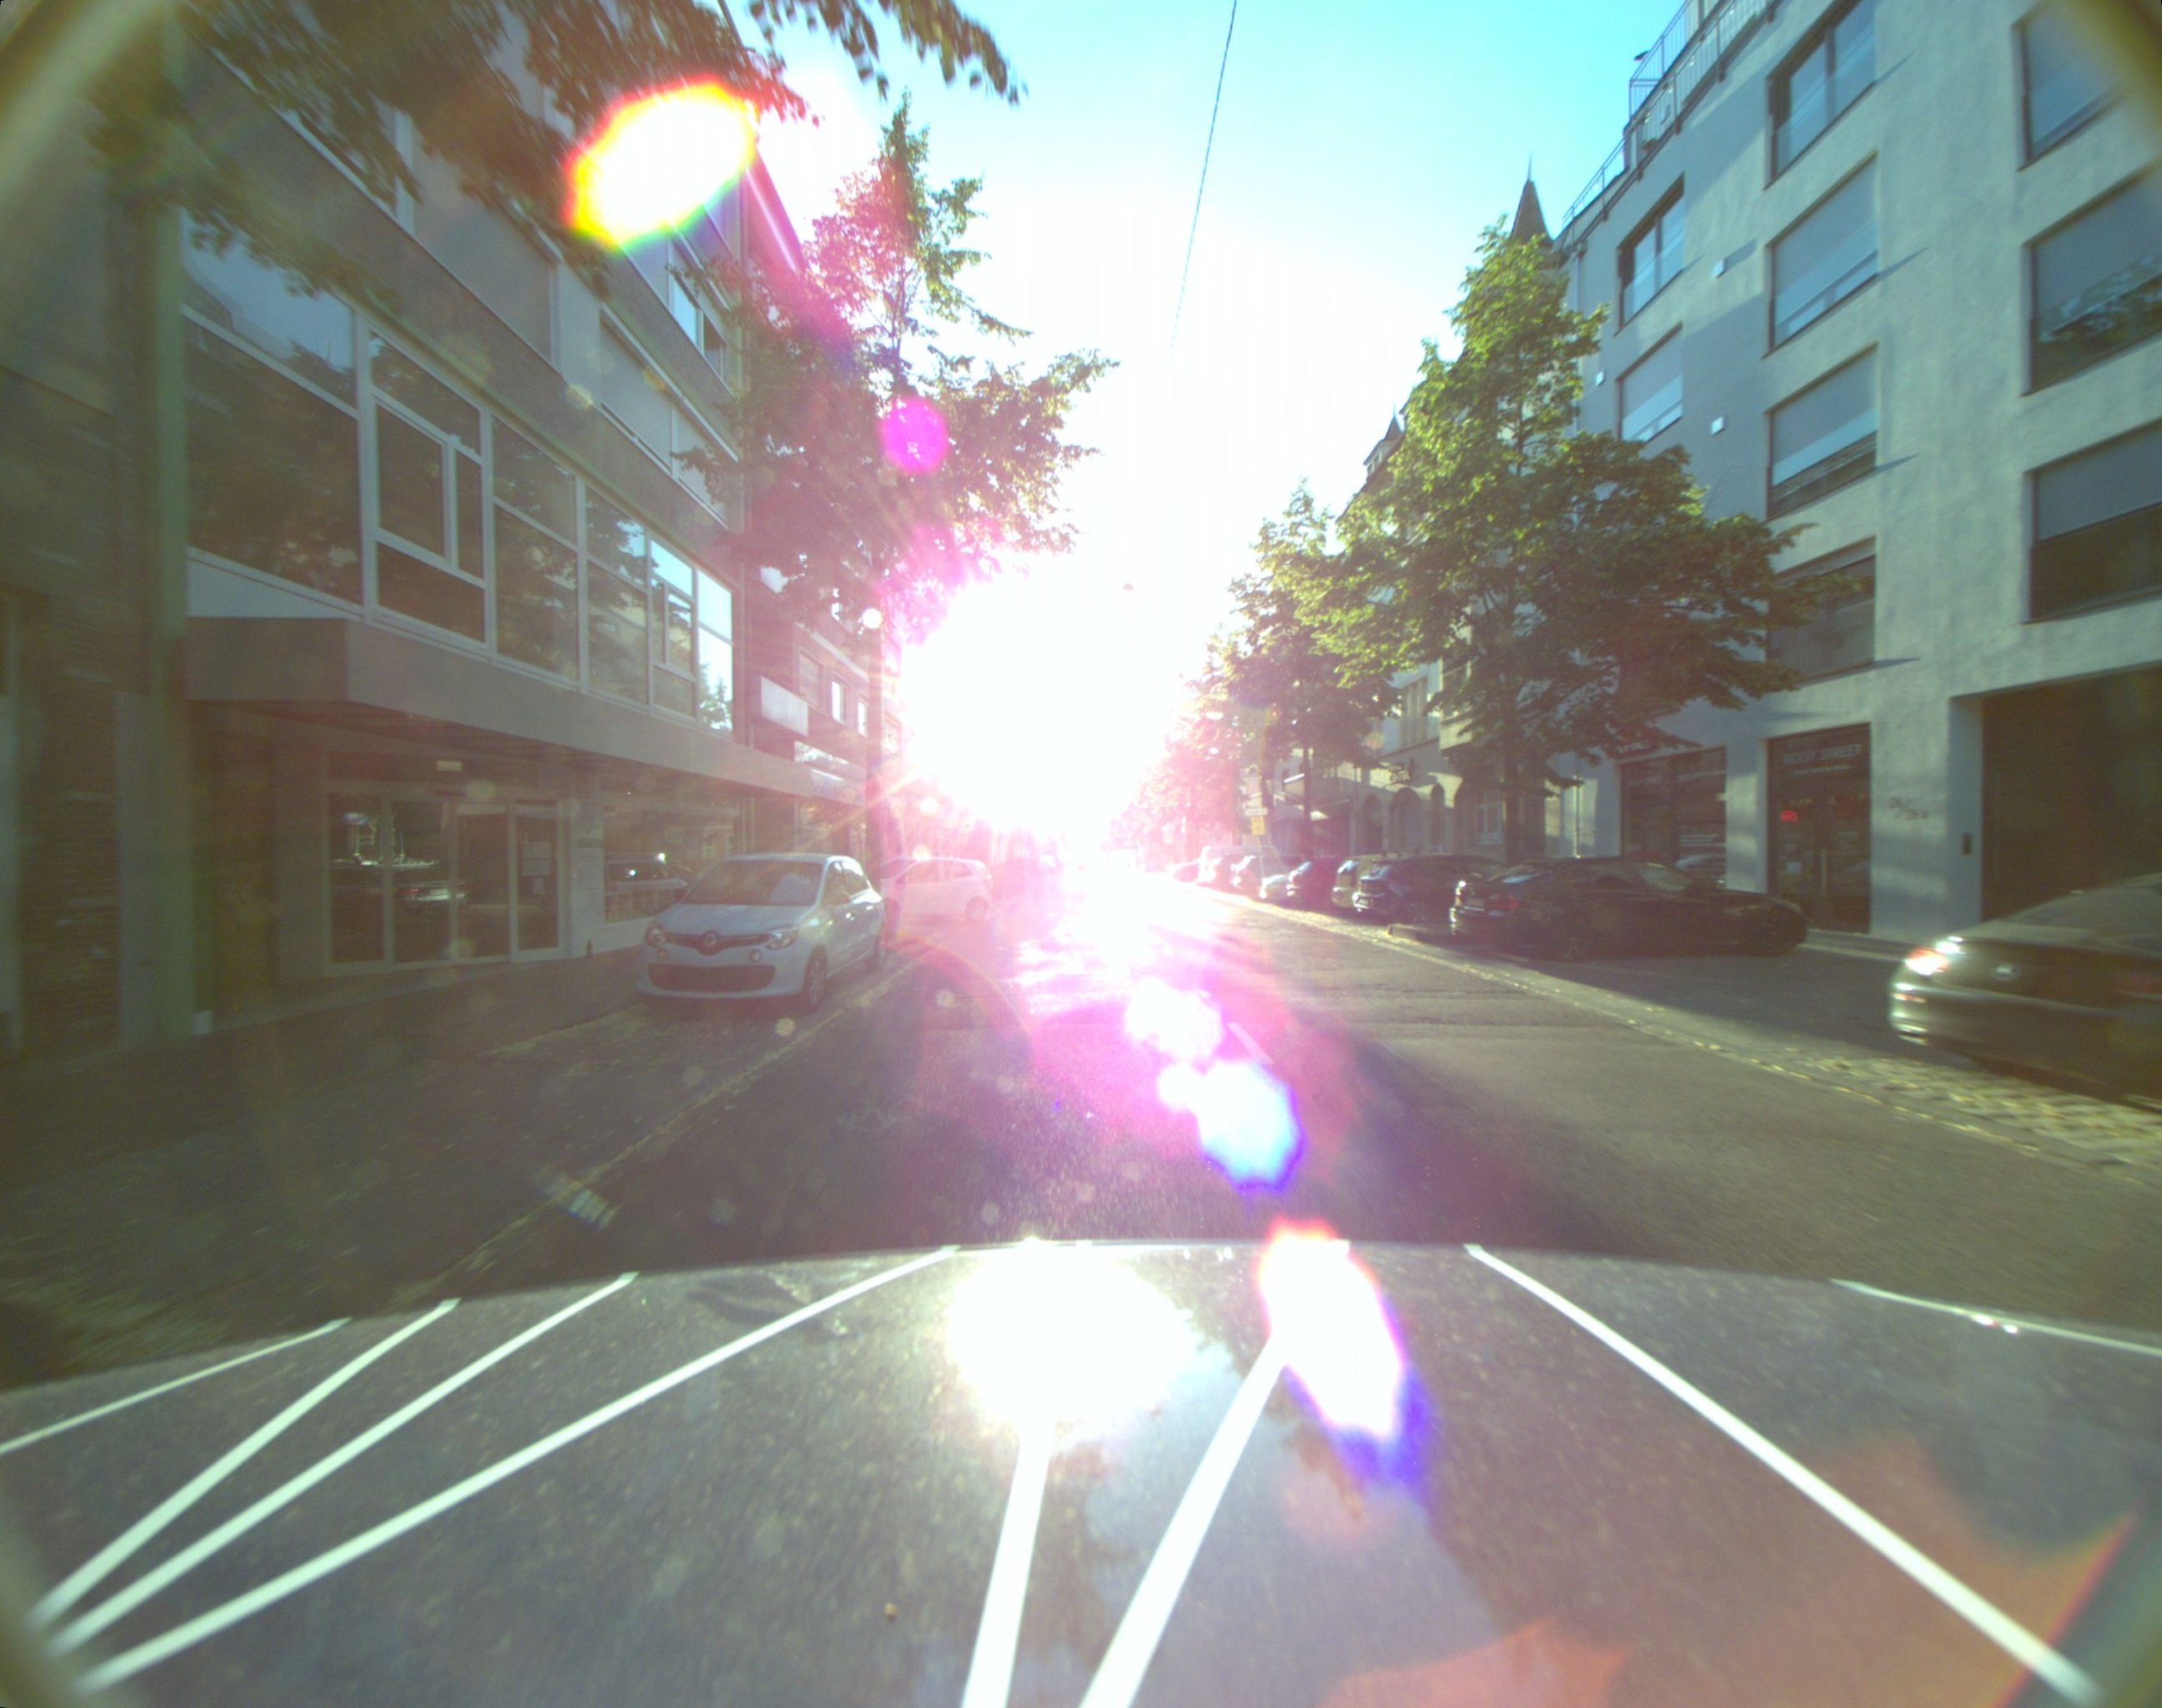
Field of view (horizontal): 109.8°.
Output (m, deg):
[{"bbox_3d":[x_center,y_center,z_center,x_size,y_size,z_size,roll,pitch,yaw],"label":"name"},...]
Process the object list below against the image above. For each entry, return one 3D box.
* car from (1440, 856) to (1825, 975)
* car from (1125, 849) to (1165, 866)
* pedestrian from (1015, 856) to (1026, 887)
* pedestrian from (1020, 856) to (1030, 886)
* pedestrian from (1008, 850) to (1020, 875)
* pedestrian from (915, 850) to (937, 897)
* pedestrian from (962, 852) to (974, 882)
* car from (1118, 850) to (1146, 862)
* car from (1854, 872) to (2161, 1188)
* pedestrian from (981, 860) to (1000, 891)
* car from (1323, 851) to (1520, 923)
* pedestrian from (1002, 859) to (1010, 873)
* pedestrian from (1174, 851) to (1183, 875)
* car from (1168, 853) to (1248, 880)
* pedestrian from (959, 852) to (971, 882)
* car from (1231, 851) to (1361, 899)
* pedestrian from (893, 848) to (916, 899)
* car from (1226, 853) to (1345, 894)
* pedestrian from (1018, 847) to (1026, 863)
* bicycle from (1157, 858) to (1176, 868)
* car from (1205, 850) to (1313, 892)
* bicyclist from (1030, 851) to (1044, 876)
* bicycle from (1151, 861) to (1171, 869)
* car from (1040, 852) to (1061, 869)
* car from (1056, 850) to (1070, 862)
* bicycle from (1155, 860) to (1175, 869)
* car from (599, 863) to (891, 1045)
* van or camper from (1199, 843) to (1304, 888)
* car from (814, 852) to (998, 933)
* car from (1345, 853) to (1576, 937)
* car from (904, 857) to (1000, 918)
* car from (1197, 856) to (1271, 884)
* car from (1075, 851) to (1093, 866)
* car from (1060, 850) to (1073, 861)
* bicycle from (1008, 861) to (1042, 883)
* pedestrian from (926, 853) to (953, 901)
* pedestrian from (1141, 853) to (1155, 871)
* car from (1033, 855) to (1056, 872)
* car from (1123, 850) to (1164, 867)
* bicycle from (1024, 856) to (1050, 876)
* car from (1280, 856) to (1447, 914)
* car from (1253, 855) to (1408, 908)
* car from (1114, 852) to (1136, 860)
[{"bbox_3d":[7.691,0.803,10.862,4.286,1.475,1.744,-1,0,-2],"label":"car"},{"bbox_3d":[7.429,0.415,88.823,4.439,1.832,1.814,-1,1,-1],"label":"car"},{"bbox_3d":[-2.937,0.852,37.026,0.448,1.472,0.547,1,1,1],"label":"pedestrian"},{"bbox_3d":[-2.812,0.862,38.121,0.448,1.472,0.563,1,1,1],"label":"pedestrian"},{"bbox_3d":[-5.089,0.626,57.811,0.719,1.864,0.756,1,1,5],"label":"pedestrian"},{"bbox_3d":[-5.410,0.662,26.507,0.607,1.622,0.668,-1,1,0],"label":"pedestrian"},{"bbox_3d":[-6.321,0.715,42.498,0.493,1.614,0.573,1,1,1],"label":"pedestrian"},{"bbox_3d":[7.760,0.341,115.396,4.152,1.771,1.826,-1,0,0],"label":"car"},{"bbox_3d":[7.439,0.862,4.328,4.285,1.475,1.744,-1,0,0],"label":"car"},{"bbox_3d":[-3.951,0.924,33.252,0.687,1.298,0.648,1,1,2],"label":"pedestrian"},{"bbox_3d":[7.971,0.730,18.003,3.876,1.558,1.744,-1,0,-2],"label":"car"},{"bbox_3d":[-5.903,0.961,60.079,0.551,1.128,0.648,1,1,1],"label":"pedestrian"},{"bbox_3d":[6.769,0.633,52.613,0.550,1.638,0.721,-1,1,3],"label":"pedestrian"},{"bbox_3d":[7.555,0.734,45.530,4.439,1.516,1.814,-1,0,-1],"label":"car"},{"bbox_3d":[-6.316,0.713,41.329,0.493,1.614,0.573,1,1,1],"label":"pedestrian"},{"bbox_3d":[7.629,0.745,27.283,4.192,1.528,1.744,-2,1,5],"label":"car"},{"bbox_3d":[-6.137,0.663,26.413,0.607,1.729,0.668,-1,1,0],"label":"pedestrian"},{"bbox_3d":[7.981,0.742,29.923,4.194,1.434,1.732,-2,1,0],"label":"car"},{"bbox_3d":[-5.875,0.138,76.017,0.719,1.565,0.756,1,1,1],"label":"pedestrian"},{"bbox_3d":[8.086,0.834,72.032,1.801,0.858,0.444,-1,1,-24],"label":"bicycle"},{"bbox_3d":[7.477,0.693,32.232,4.193,1.659,1.732,-1,1,2],"label":"car"},{"bbox_3d":[-3.117,0.671,54.059,0.872,1.783,0.536,-1,1,-17],"label":"bicyclist"},{"bbox_3d":[7.345,1.028,69.659,1.796,0.761,0.408,-1,1,13],"label":"bicycle"},{"bbox_3d":[-3.014,0.608,76.373,1.825,1.658,4.155,-1,1,1],"label":"car"},{"bbox_3d":[-2.702,0.285,113.970,1.825,1.658,4.155,-1,1,1],"label":"car"},{"bbox_3d":[7.836,0.995,70.720,1.796,0.761,0.408,-1,1,13],"label":"bicycle"},{"bbox_3d":[-3.435,0.912,8.544,1.695,1.534,3.552,1,0,0],"label":"car"},{"bbox_3d":[7.807,0.518,35.126,4.469,1.945,1.789,-1,0,2],"label":"van or camper"},{"bbox_3d":[-3.770,0.807,16.780,1.661,1.574,3.632,1,-1,41],"label":"car"},{"bbox_3d":[7.663,0.782,15.599,3.876,1.558,1.744,-1,0,-2],"label":"car"},{"bbox_3d":[-3.576,0.864,21.743,1.830,1.465,3.991,3,0,2],"label":"car"},{"bbox_3d":[8.035,0.820,40.092,3.582,1.405,1.512,-1,1,2],"label":"car"},{"bbox_3d":[0.342,0.456,77.099,1.825,1.469,4.155,-1,1,1],"label":"car"},{"bbox_3d":[-2.287,0.242,120.764,1.825,1.658,4.155,-1,1,1],"label":"car"},{"bbox_3d":[-3.109,0.983,41.877,2.055,1.208,0.479,0,1,37],"label":"bicycle"},{"bbox_3d":[-4.823,0.777,25.970,0.748,1.622,0.855,-1,1,0],"label":"pedestrian"},{"bbox_3d":[5.985,0.710,67.917,0.898,1.671,0.795,-1,1,-36],"label":"pedestrian"},{"bbox_3d":[-3.254,0.842,68.298,1.825,1.344,4.155,-1,1,1],"label":"car"},{"bbox_3d":[7.127,0.460,86.655,4.439,1.832,1.814,-1,1,-1],"label":"car"},{"bbox_3d":[-3.140,0.853,54.040,1.831,1.335,0.405,-1,1,-17],"label":"bicycle"},{"bbox_3d":[7.563,0.800,20.586,3.876,1.448,1.744,-1,0,-2],"label":"car"},{"bbox_3d":[7.443,0.799,22.880,4.052,1.379,1.744,-2,0,-3],"label":"car"},{"bbox_3d":[8.369,0.335,145.647,4.151,1.469,1.827,-1,0,1],"label":"car"}]
